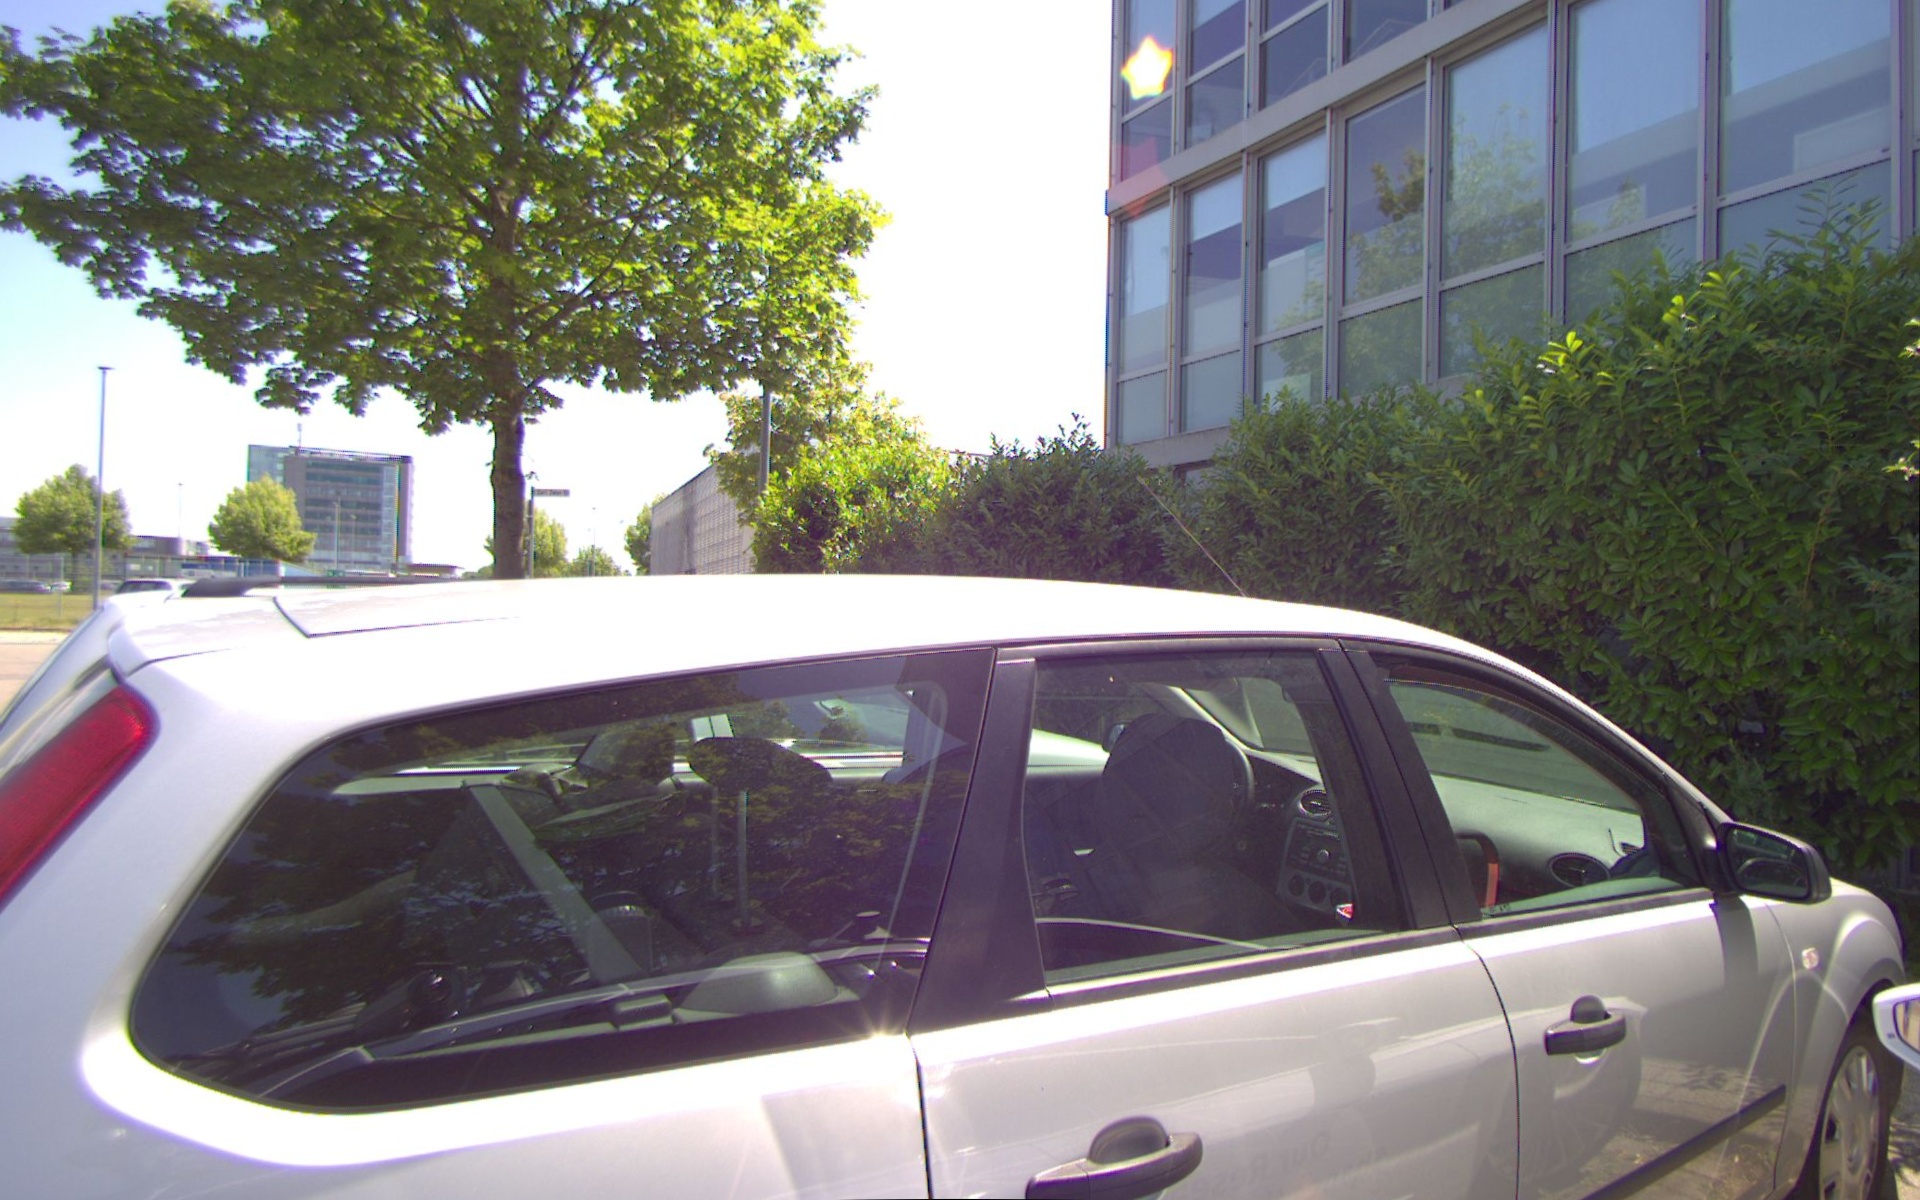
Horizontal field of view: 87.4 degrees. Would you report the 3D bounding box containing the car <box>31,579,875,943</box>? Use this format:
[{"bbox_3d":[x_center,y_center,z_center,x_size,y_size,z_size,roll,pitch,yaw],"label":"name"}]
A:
[{"bbox_3d":[-2.582,0.684,5.817,3.851,1.468,1.637,1,0,-34],"label":"car"}]

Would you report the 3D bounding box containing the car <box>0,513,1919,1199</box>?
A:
[{"bbox_3d":[0.378,0.728,2.146,4.299,1.499,1.710,1,0,-31],"label":"car"}]

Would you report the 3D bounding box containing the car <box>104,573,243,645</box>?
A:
[{"bbox_3d":[-21.149,0.231,27.200,1.745,1.761,3.982,1,0,-20],"label":"car"}]

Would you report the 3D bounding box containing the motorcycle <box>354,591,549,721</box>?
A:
[{"bbox_3d":[-5.847,0.620,11.615,1.969,1.408,0.480,1,0,-34],"label":"motorcycle"}]

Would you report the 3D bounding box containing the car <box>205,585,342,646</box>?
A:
[{"bbox_3d":[-18.729,0.401,27.617,1.624,1.542,3.991,1,0,-11],"label":"car"}]

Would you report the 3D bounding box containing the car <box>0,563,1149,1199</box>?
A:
[{"bbox_3d":[-1.273,0.694,3.762,3.851,1.499,1.637,1,0,-34],"label":"car"}]
